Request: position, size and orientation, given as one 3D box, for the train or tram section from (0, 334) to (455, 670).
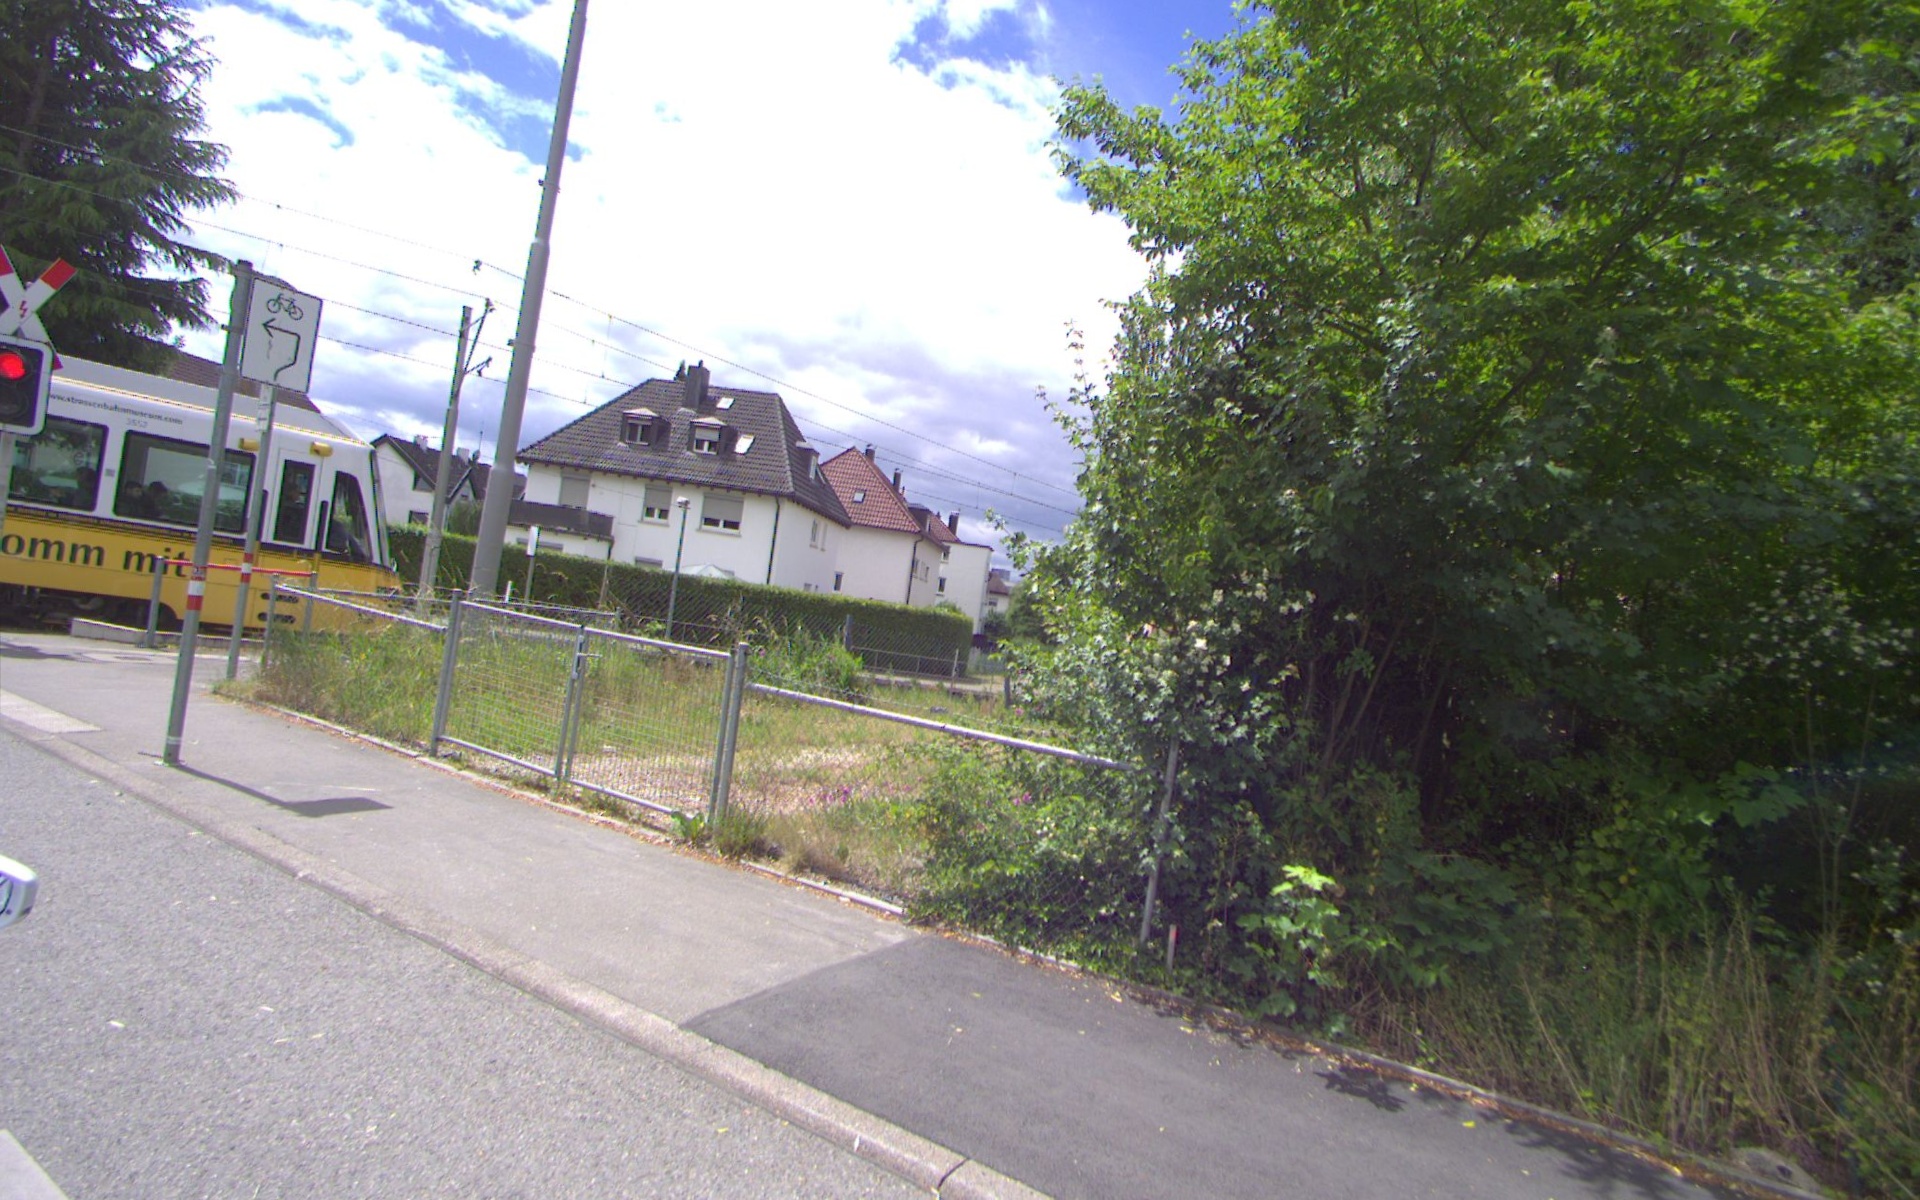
[{"bbox_3d":[-12.173,-1.388,14.924,7.655,3.762,2.842,10,-3,-36],"label":"train or tram section"}]
